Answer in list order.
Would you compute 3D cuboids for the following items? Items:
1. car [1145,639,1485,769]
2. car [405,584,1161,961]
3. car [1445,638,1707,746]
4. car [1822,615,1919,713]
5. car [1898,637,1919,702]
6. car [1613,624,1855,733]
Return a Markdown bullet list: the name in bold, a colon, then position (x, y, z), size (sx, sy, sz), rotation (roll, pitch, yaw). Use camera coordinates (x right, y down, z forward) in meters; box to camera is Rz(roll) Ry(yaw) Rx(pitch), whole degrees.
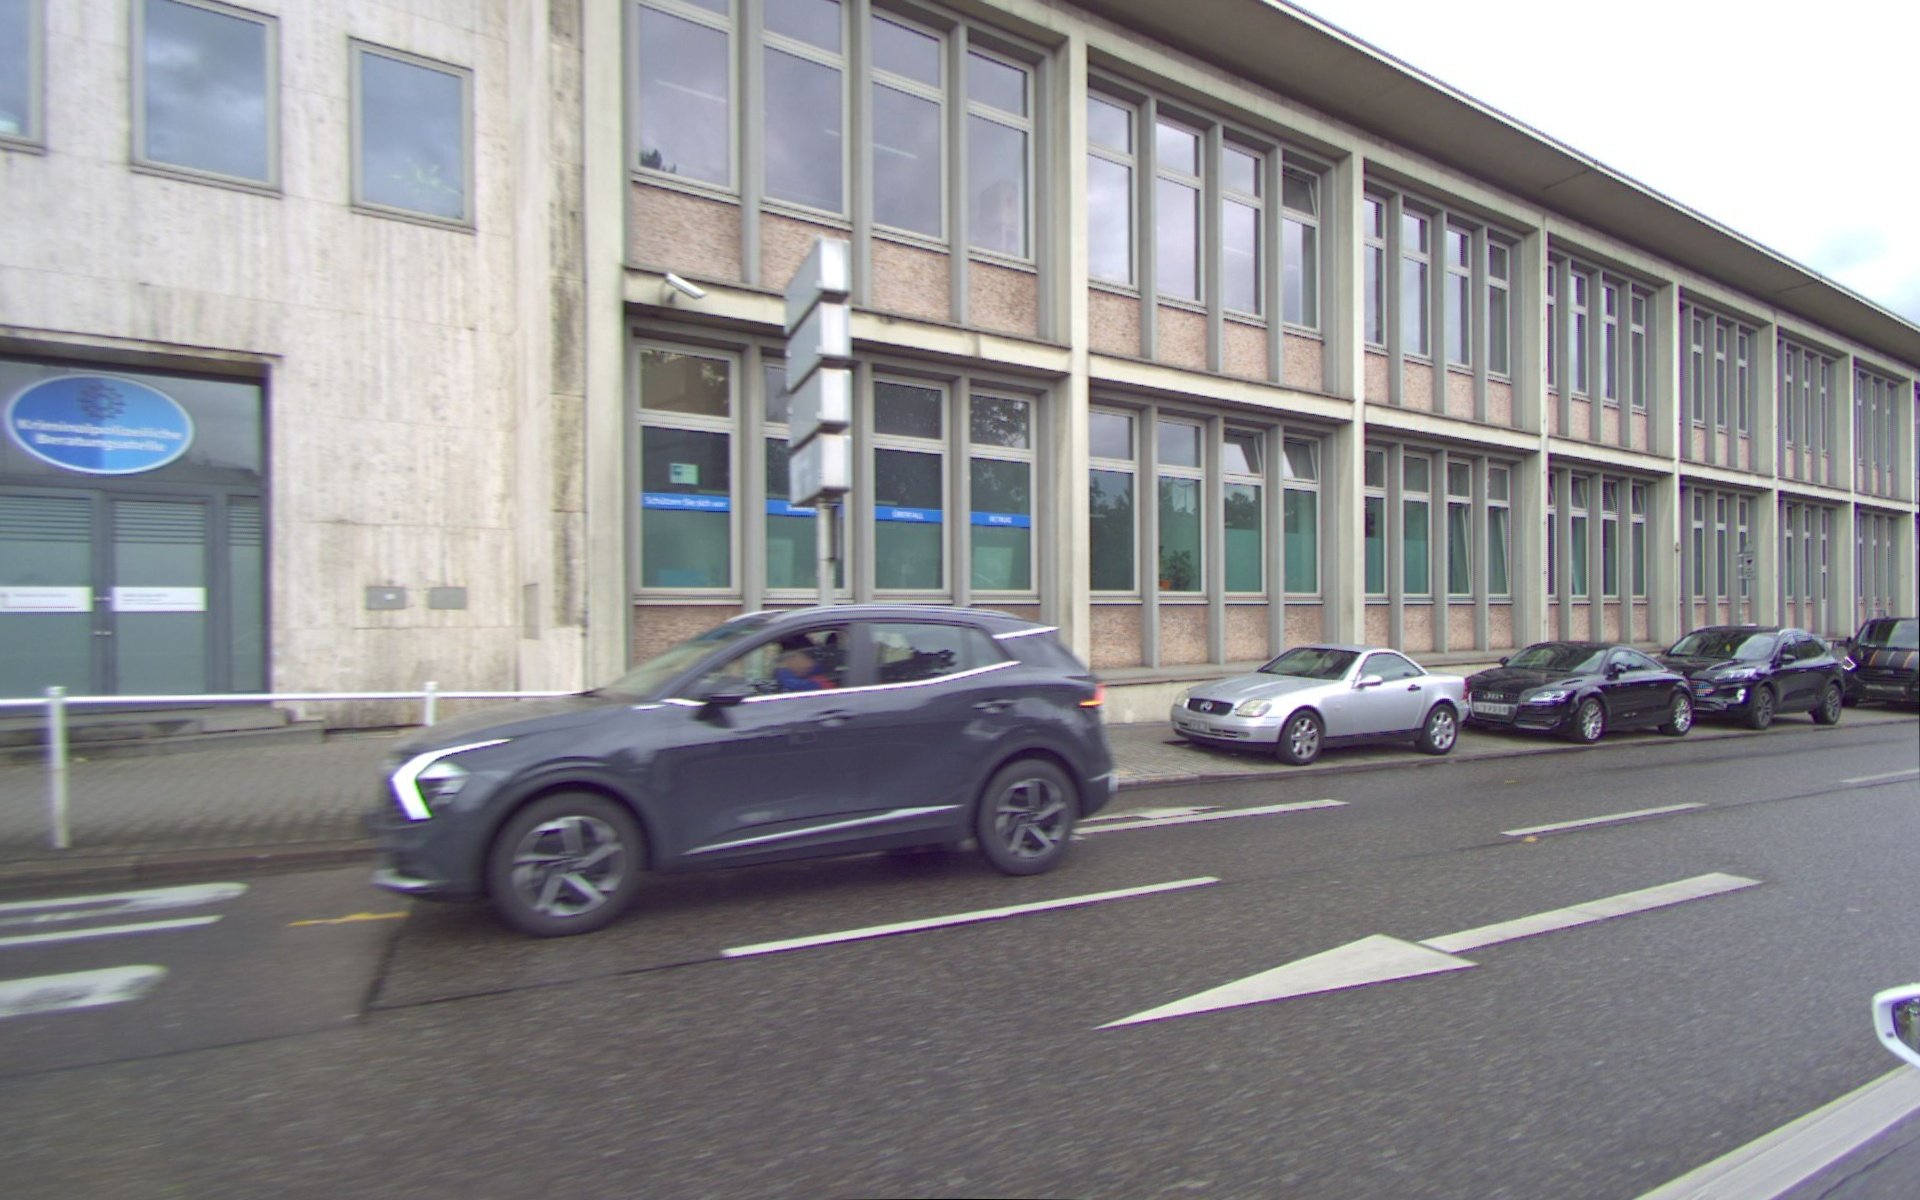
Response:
- **car**: position (4.379, 1.161, 12.278), size (4.043, 1.315, 1.684), rotation (1, -1, -29)
- **car**: position (-1.004, 0.827, 6.324), size (4.283, 1.682, 1.815), rotation (1, -2, -28)
- **car**: position (9.124, 1.264, 14.814), size (4.060, 1.371, 1.536), rotation (1, -1, -29)
- **car**: position (21.121, 1.337, 22.030), size (4.939, 1.969, 1.939), rotation (1, -1, -31)
- **car**: position (25.580, 1.736, 25.230), size (4.263, 1.572, 1.851), rotation (1, -1, -31)
- **car**: position (13.608, 1.280, 17.604), size (4.549, 1.698, 1.789), rotation (1, -1, -30)
